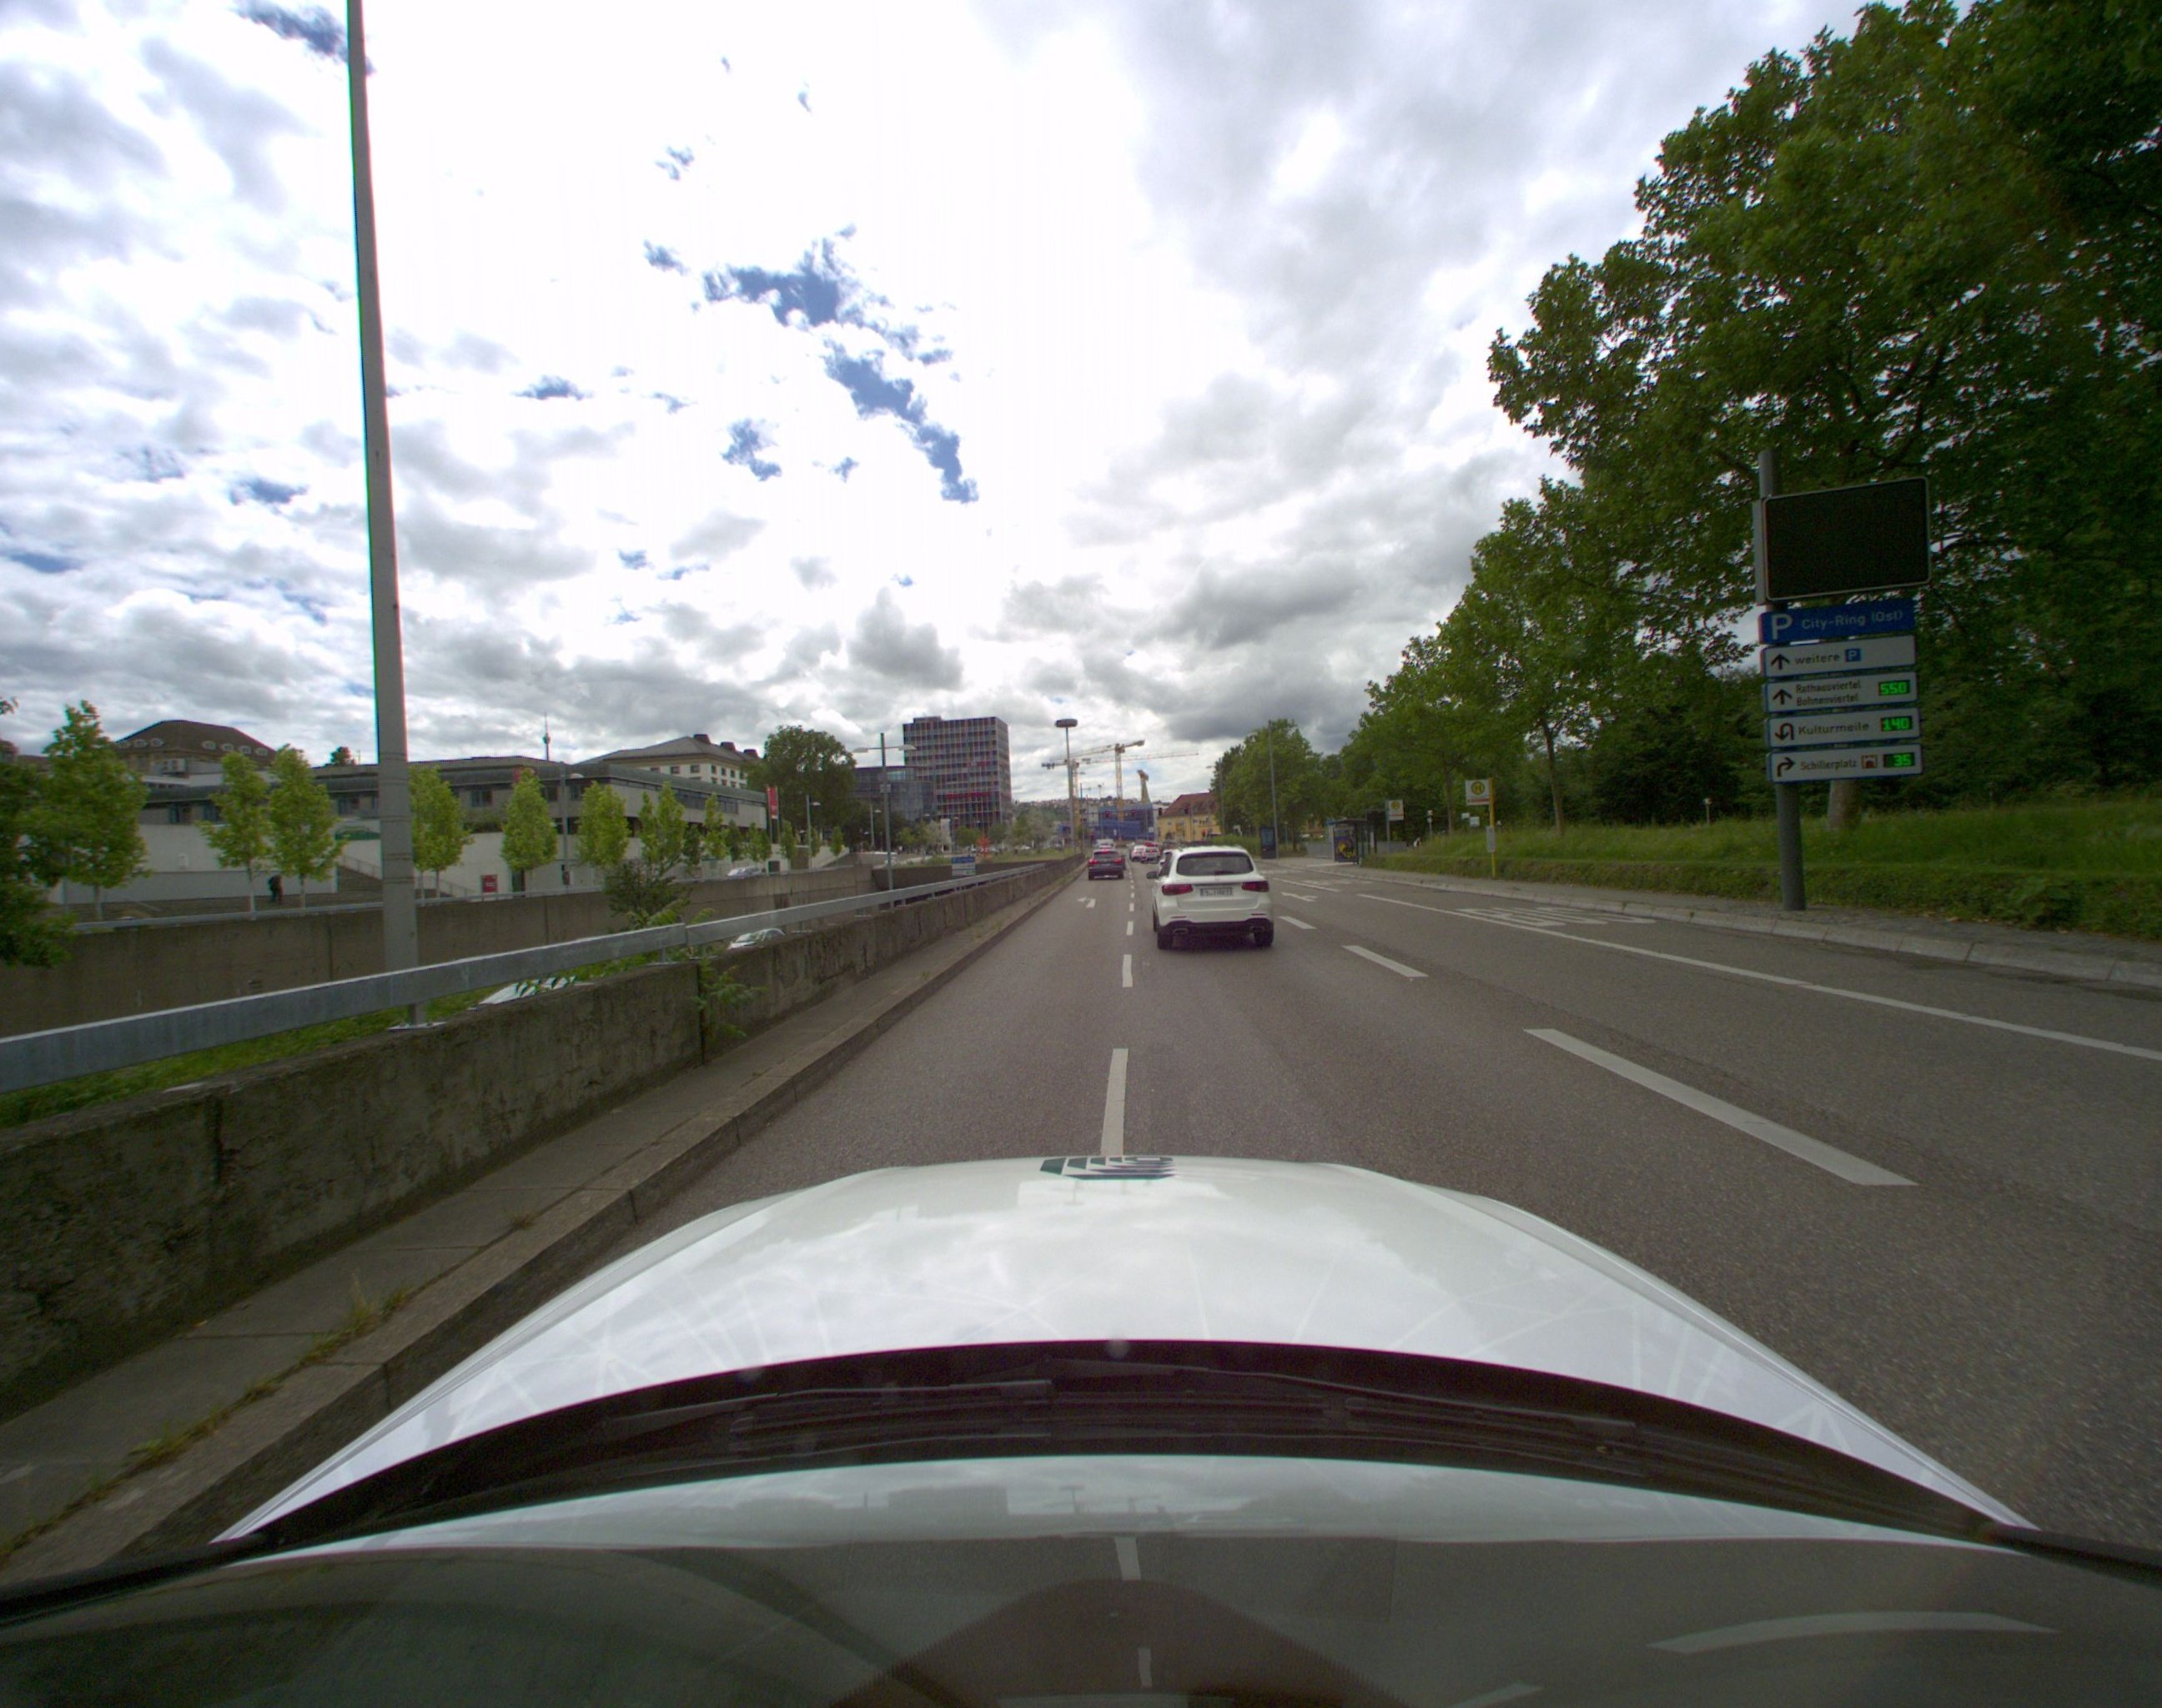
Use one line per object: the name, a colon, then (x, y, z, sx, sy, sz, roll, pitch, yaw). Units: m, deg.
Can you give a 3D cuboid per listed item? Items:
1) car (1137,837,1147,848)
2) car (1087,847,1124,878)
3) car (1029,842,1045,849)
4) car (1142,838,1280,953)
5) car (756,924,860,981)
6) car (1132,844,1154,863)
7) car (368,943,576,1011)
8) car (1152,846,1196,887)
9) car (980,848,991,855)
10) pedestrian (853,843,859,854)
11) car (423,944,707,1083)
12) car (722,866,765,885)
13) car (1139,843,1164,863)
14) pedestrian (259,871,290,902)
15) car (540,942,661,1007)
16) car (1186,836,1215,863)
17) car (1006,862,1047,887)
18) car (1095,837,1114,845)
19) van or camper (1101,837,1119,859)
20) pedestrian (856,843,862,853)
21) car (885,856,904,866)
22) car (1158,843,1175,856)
car: (12.430, -2.301, 165.827, 1.793, 2.014, 4.002, -1, -1, 2)
car: (1.380, 0.464, 45.735, 1.915, 1.602, 4.002, -2, 0, 2)
car: (-11.680, -2.236, 214.961, 3.994, 2.014, 1.990, -1, -1, -15)
car: (2.115, 0.646, 14.287, 1.933, 1.684, 4.003, -1, -1, 3)
car: (-9.623, 3.453, 29.172, 1.804, 1.460, 4.867, -2, -1, 4)
car: (5.962, -0.008, 79.047, 1.986, 1.781, 4.002, -1, -1, 2)
car: (-16.257, 3.240, 22.151, 1.987, 1.142, 4.849, -1, -1, 0)
car: (3.969, 0.518, 35.303, 1.665, 1.627, 4.003, -1, 0, 3)
car: (-22.072, -0.543, 188.091, 1.860, 1.618, 3.483, -1, -1, 2)
pedestrian: (-36.239, -0.816, 131.129, 0.686, 1.729, 0.645, -1, -1, 34)
car: (-8.971, 2.697, 14.822, 1.987, 1.482, 4.810, -3, 0, 1)
car: (-25.493, 1.626, 61.640, 1.828, 1.360, 3.864, -1, -1, -3)
car: (6.109, -0.039, 71.280, 1.986, 1.662, 4.002, -1, -1, 2)
pedestrian: (-44.919, 1.809, 45.368, 0.639, 1.640, 1.003, 3, -1, 2)
car: (-18.957, 4.684, 32.424, 1.811, 1.897, 4.905, -1, -1, 1)
car: (9.284, -0.341, 63.518, 1.781, 2.013, 4.002, -2, 0, 2)
car: (-3.027, 1.111, 45.967, 1.711, 1.292, 4.004, -1, 0, 4)
car: (6.366, -3.541, 221.483, 5.221, 2.060, 1.885, -1, -1, 39)
van or camper: (3.364, -0.628, 93.058, 1.915, 2.320, 4.001, -2, -2, 2)
pedestrian: (-38.529, -1.001, 141.471, 0.686, 1.729, 0.645, -1, -1, 26)
car: (-26.703, 1.036, 116.532, 1.802, 1.427, 3.708, -1, -1, 1)
car: (10.579, -0.527, 100.455, 1.713, 1.584, 4.001, -1, 0, 1)
